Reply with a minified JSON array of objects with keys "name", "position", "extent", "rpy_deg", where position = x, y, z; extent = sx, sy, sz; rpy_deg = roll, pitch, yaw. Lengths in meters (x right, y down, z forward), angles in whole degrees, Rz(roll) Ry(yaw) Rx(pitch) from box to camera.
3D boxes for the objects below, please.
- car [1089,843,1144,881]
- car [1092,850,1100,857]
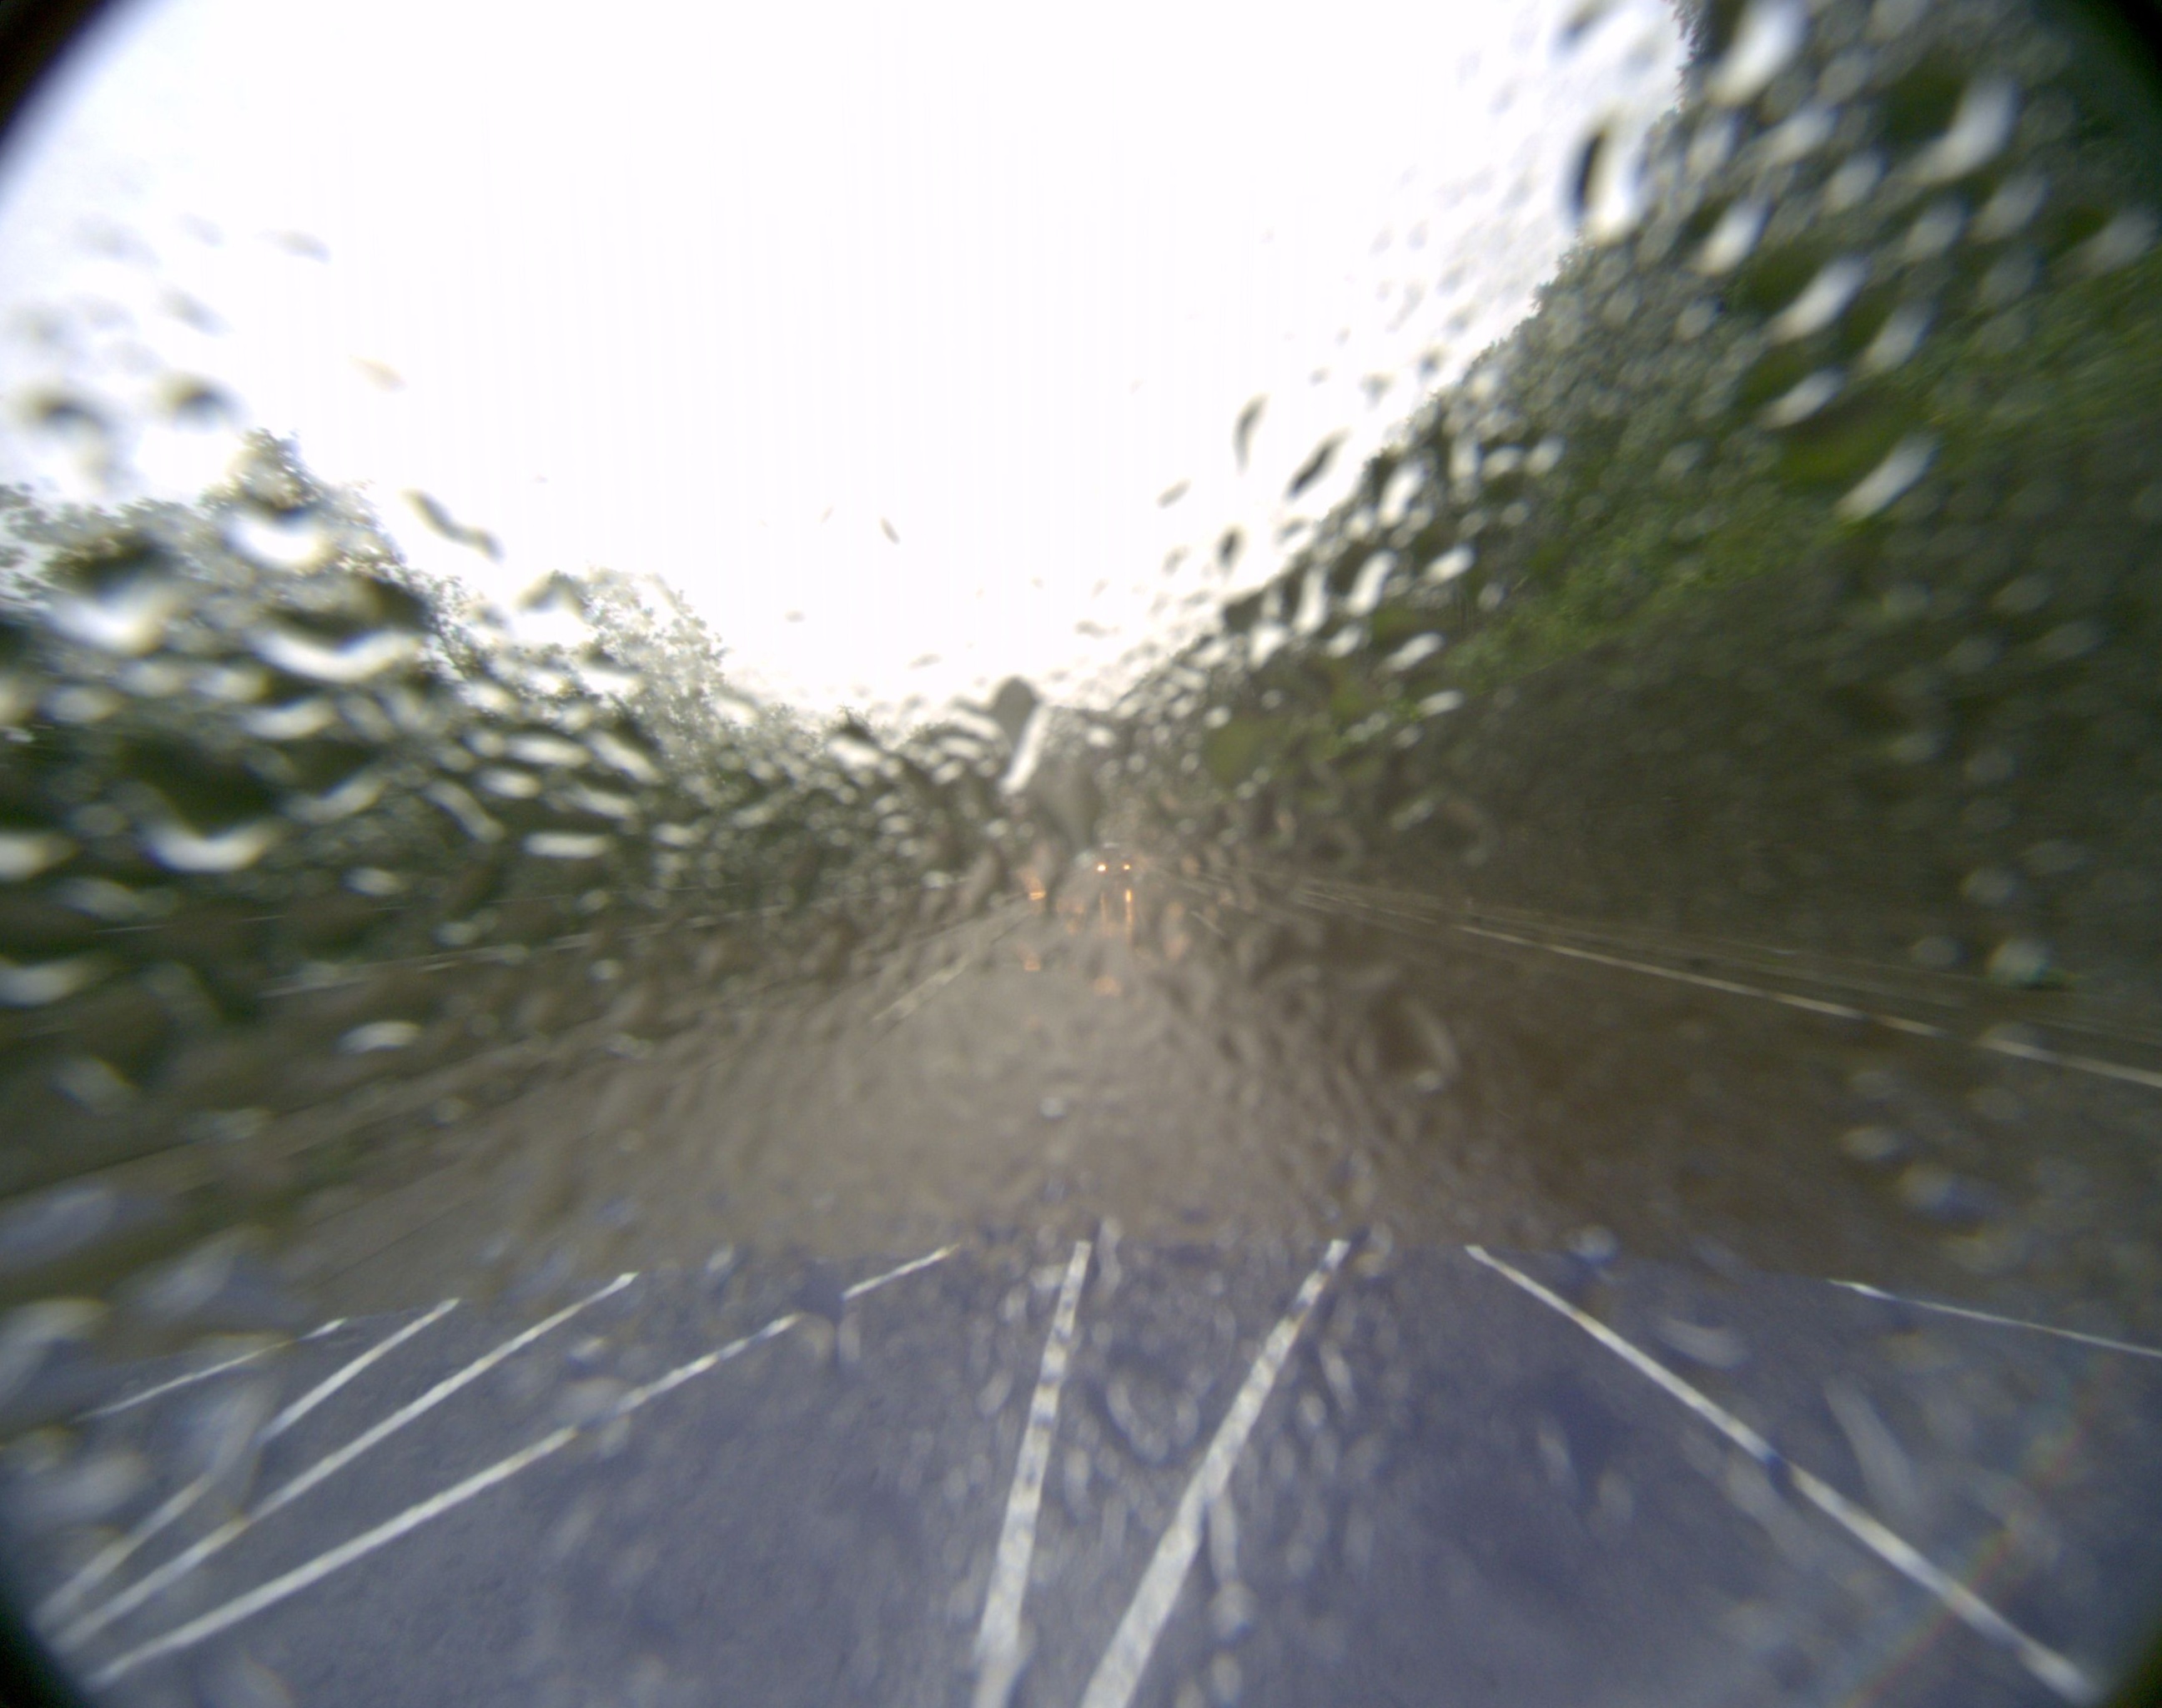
[{"name":"car","position":[1.741,0.336,37.386],"extent":[2.359,1.549,5.499],"rpy_deg":[-5,1,3]},{"name":"car","position":[3.186,-0.155,161.328],"extent":[1.742,1.393,3.999],"rpy_deg":[-2,1,0]}]
